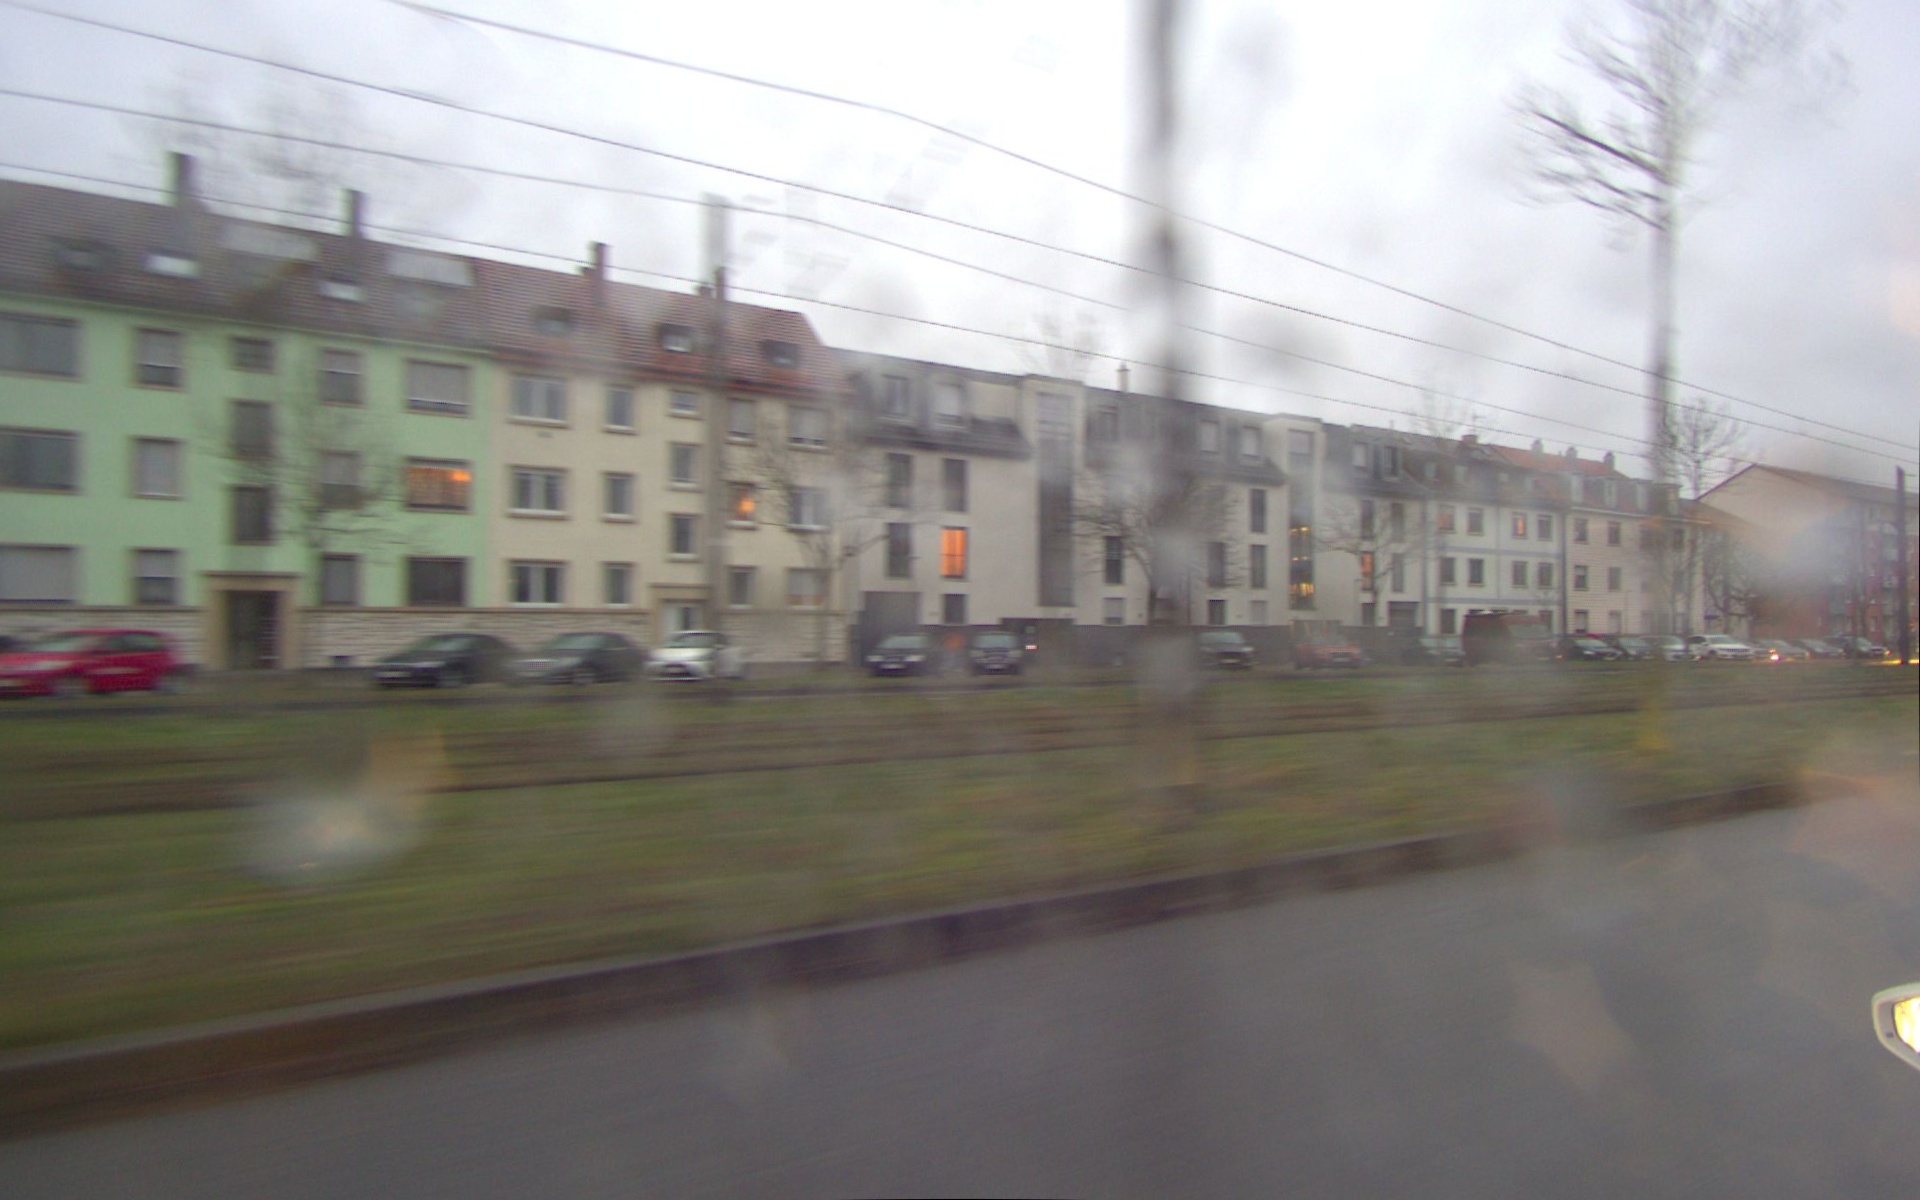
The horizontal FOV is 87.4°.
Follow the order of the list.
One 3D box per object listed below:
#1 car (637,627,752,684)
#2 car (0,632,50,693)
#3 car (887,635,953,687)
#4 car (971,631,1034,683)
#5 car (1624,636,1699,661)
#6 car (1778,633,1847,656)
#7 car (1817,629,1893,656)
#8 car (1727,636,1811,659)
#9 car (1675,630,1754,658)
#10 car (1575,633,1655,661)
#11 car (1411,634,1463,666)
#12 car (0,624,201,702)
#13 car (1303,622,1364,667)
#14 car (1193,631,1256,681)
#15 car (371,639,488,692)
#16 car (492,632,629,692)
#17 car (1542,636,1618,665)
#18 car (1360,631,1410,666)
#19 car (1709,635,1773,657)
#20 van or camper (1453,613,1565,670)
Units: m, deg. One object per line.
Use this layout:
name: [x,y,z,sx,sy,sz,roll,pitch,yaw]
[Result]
car: [-7.013,1.439,26.899,1.702,1.262,3.845,1,0,6]
car: [-20.130,1.277,19.437,1.702,1.156,3.573,1,0,3]
car: [-1.161,1.803,30.358,1.703,1.354,2.937,1,0,3]
car: [1.409,1.767,32.156,1.636,1.441,3.387,1,0,9]
car: [36.978,2.538,53.058,1.658,1.162,3.419,1,0,2]
car: [53.902,2.774,63.583,1.424,1.355,3.770,0,-1,6]
car: [58.970,2.769,66.257,1.707,1.576,3.799,1,0,3]
car: [47.908,2.800,59.605,1.648,1.131,4.190,1,0,1]
car: [42.540,2.446,56.744,1.737,1.397,4.126,1,0,7]
car: [33.690,2.406,51.764,1.845,1.216,3.541,1,0,2]
car: [20.662,2.151,43.634,1.360,1.220,2.890,1,0,11]
car: [-17.911,1.233,20.749,1.653,1.326,3.581,1,0,3]
car: [14.928,1.754,40.335,1.707,1.610,3.851,1,0,11]
car: [9.681,2.018,37.018,1.636,1.561,4.165,1,0,6]
car: [-12.484,1.519,23.775,1.408,1.062,2.393,0,0,3]
car: [-9.765,1.478,24.892,1.703,1.188,3.822,1,0,3]
car: [31.124,2.520,50.533,1.713,1.228,3.541,1,0,2]
car: [18.258,2.066,43.222,1.360,1.320,3.099,1,0,11]
car: [45.257,2.646,58.237,1.369,1.162,3.045,1,0,1]
van or camper: [25.891,1.864,47.717,1.960,2.391,6.884,1,0,4]
